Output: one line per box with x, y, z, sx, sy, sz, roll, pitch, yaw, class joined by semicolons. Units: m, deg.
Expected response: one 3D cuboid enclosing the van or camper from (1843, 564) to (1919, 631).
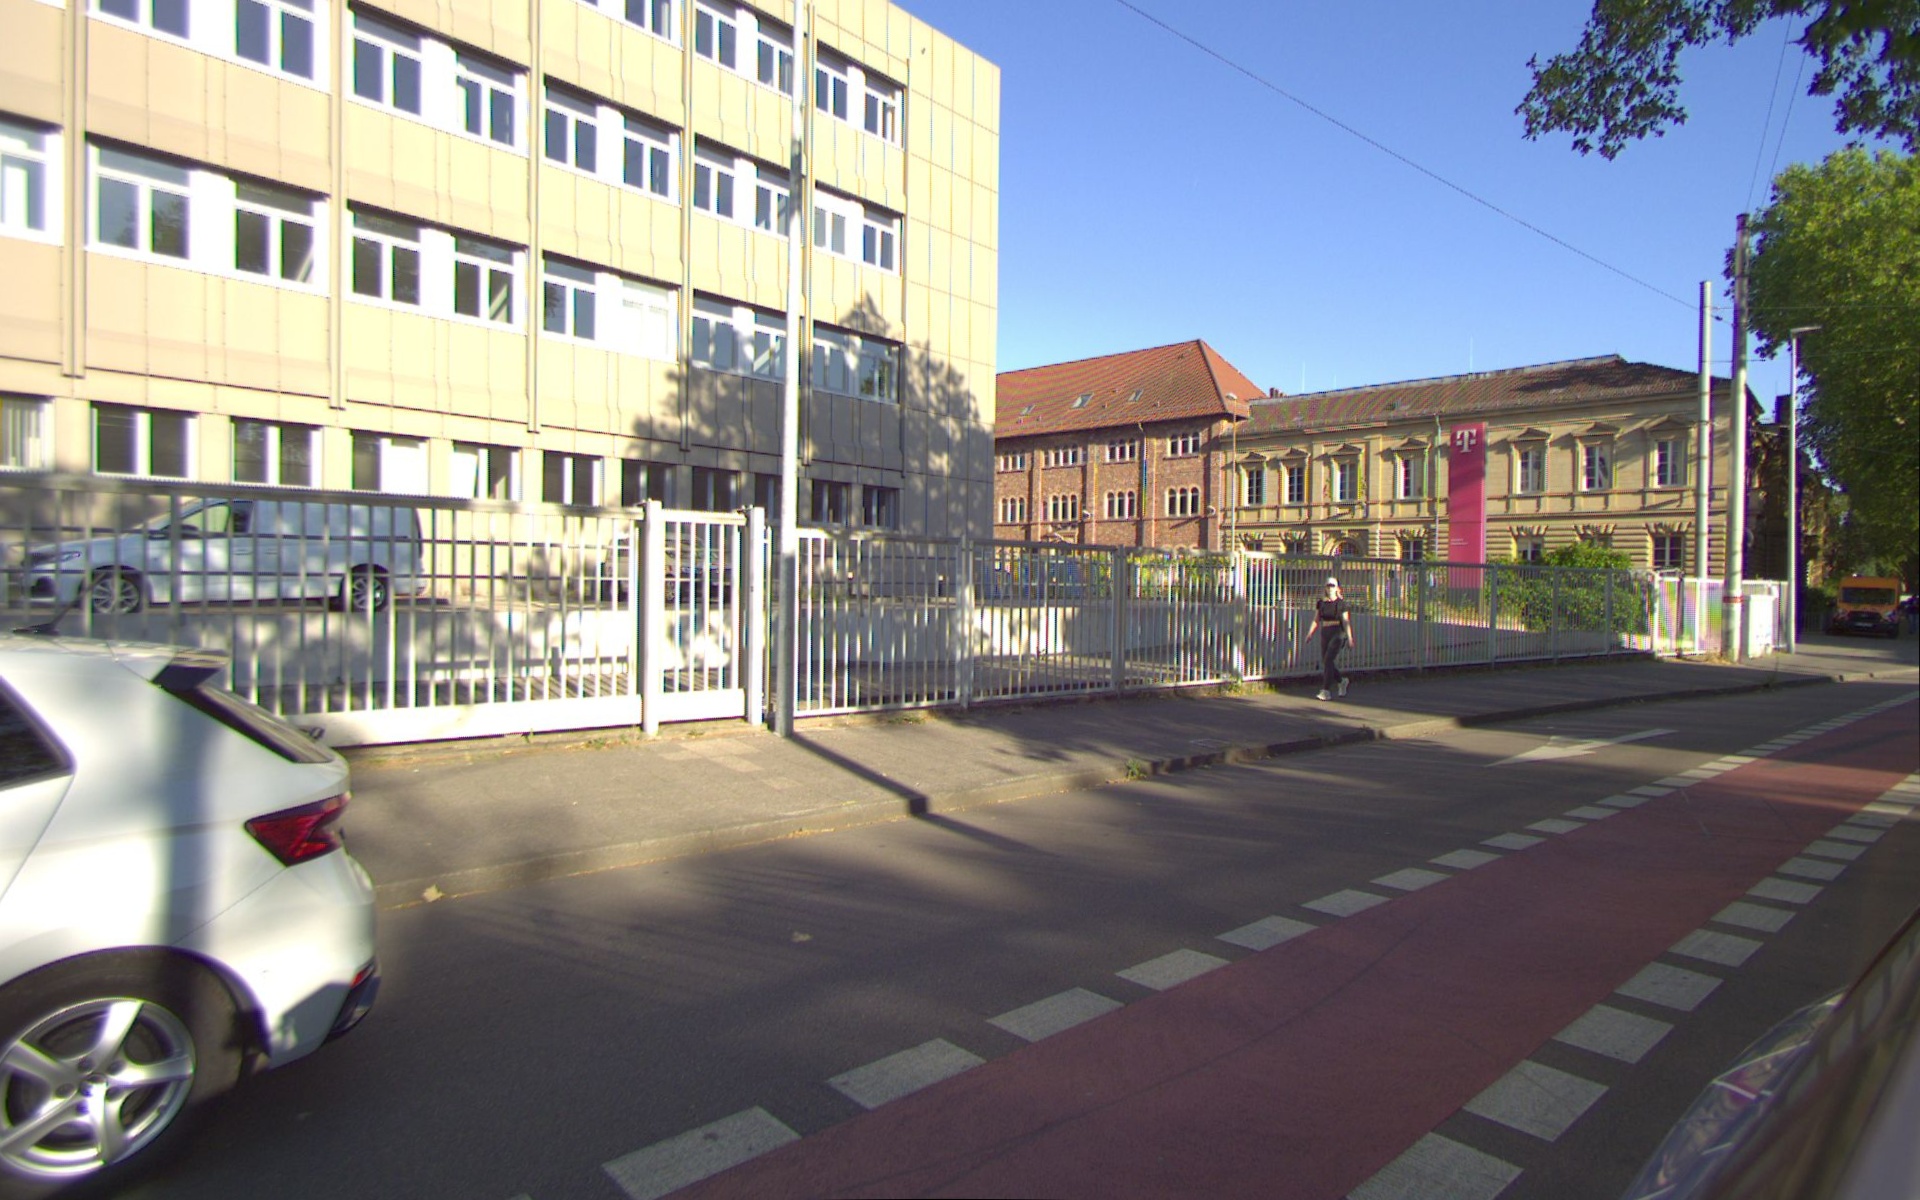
37.900;-0.134;41.572;2.037;2.591;5.679;2;1;45;van or camper

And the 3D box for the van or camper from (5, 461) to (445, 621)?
-10.499;-0.761;14.789;1.980;1.932;4.923;2;2;42;van or camper

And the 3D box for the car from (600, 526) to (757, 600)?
-7.201;-0.922;25.681;4.251;1.739;1.962;2;2;44;car

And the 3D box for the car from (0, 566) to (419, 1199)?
-3.601;0.698;2.254;3.915;1.520;1.803;0;-1;-43;car

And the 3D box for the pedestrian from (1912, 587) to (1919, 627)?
42.958;0.307;45.152;0.650;1.758;0.991;1;1;44;pedestrian

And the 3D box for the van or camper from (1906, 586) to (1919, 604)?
135.346;-0.682;140.272;6.085;2.461;2.390;2;1;44;van or camper

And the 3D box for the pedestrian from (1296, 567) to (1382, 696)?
5.204;0.408;13.896;0.913;1.705;0.698;0;1;-37;pedestrian
